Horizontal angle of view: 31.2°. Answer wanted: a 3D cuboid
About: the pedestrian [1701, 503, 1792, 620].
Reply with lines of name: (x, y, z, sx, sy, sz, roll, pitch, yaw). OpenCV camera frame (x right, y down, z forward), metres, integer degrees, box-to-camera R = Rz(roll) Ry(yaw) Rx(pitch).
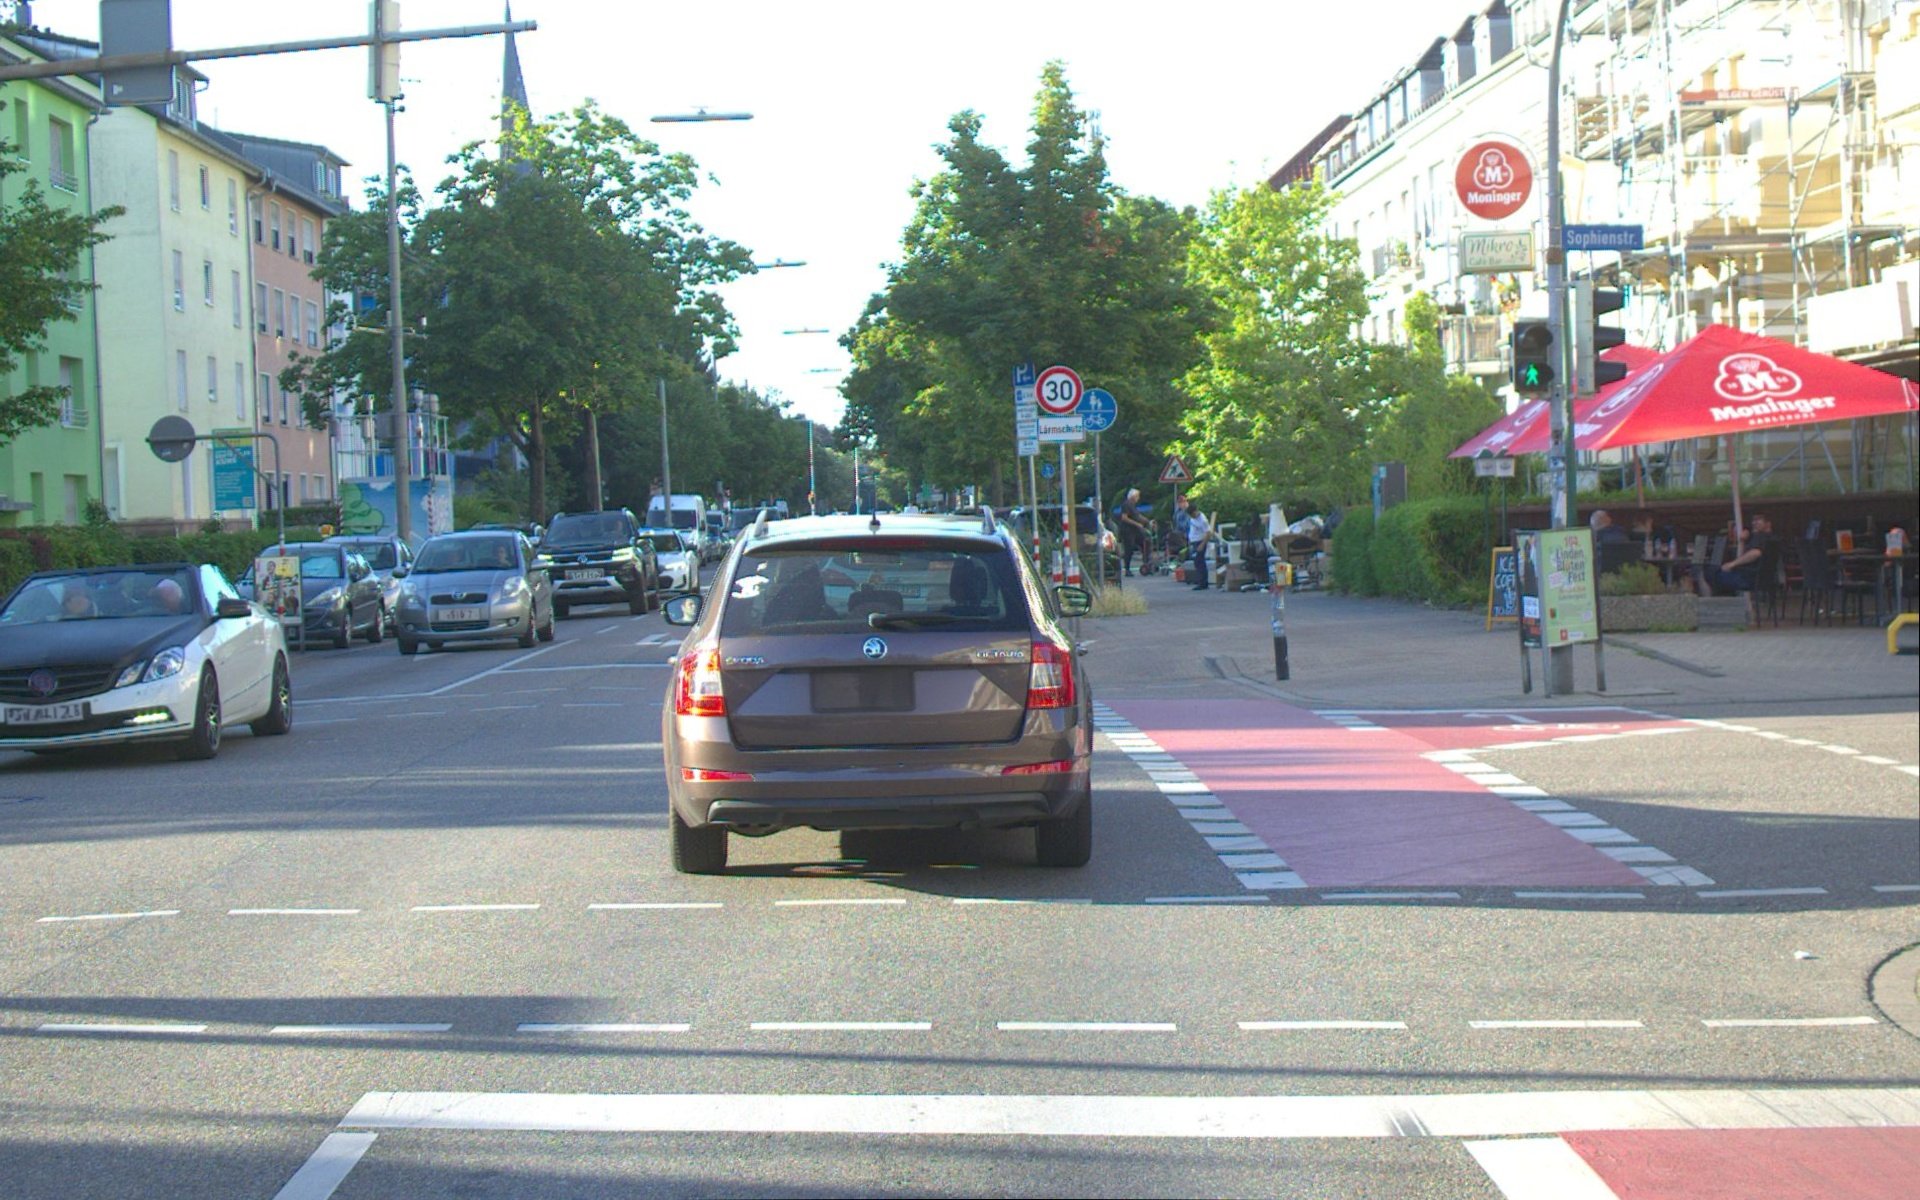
pedestrian: (8.287, -0.414, 36.242, 0.729, 1.194, 0.856, -2, 1, 0)

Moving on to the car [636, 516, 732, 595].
car: (-5.793, -0.961, 72.460, 1.704, 1.545, 4.002, -2, 1, -1)

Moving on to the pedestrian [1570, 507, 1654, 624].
pedestrian: (6.806, -0.367, 35.931, 0.677, 1.194, 0.856, -2, 1, 0)

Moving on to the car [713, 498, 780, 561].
car: (-7.211, -2.402, 116.526, 1.993, 2.006, 4.000, -2, 1, -1)

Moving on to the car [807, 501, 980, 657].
car: (-0.675, -0.258, 36.476, 1.737, 1.565, 4.000, 0, 1, 0)

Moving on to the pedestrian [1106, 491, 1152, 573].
pedestrian: (3.594, -1.448, 73.037, 0.675, 1.698, 0.800, -1, 1, 26)

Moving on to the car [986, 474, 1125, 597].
car: (1.430, -0.970, 51.203, 1.993, 1.766, 4.000, 0, 1, 2)

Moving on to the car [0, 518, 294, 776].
car: (-5.866, 0.263, 23.553, 1.830, 1.574, 4.000, -2, 1, -1)

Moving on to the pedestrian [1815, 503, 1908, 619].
pedestrian: (9.544, -0.418, 36.424, 0.729, 1.194, 0.856, -2, 1, 0)

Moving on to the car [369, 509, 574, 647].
car: (-6.150, -0.310, 43.670, 1.993, 1.605, 4.000, -2, 1, 0)

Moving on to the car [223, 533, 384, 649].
car: (-8.935, -0.152, 47.043, 1.522, 1.452, 3.585, -2, 1, -1)

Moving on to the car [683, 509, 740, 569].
car: (-9.965, -2.475, 138.119, 1.993, 2.319, 4.000, -2, 1, -1)

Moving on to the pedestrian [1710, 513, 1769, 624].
pedestrian: (8.404, -0.344, 37.080, 0.505, 1.172, 0.428, -2, 1, -1)

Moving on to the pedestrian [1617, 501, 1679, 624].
pedestrian: (7.402, -0.405, 36.990, 0.499, 1.298, 0.507, -2, 1, -4)

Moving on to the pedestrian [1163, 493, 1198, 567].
pedestrian: (4.708, -1.489, 73.361, 0.578, 1.557, 0.520, -2, 1, -10)

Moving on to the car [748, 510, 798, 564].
car: (-8.260, -2.794, 151.911, 1.993, 2.319, 4.000, -2, 1, -1)

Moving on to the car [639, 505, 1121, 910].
car: (-0.353, 0.346, 14.932, 1.773, 1.484, 4.311, -1, 1, -2)

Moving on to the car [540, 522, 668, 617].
car: (-6.033, -0.553, 58.618, 1.787, 1.565, 4.000, 0, 1, 0)

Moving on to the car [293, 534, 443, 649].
car: (-9.023, -0.164, 52.656, 1.560, 1.612, 4.000, -2, 1, 0)

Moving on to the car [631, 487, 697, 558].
car: (-10.619, -2.786, 123.538, 1.993, 2.469, 4.000, -2, 1, -1)
